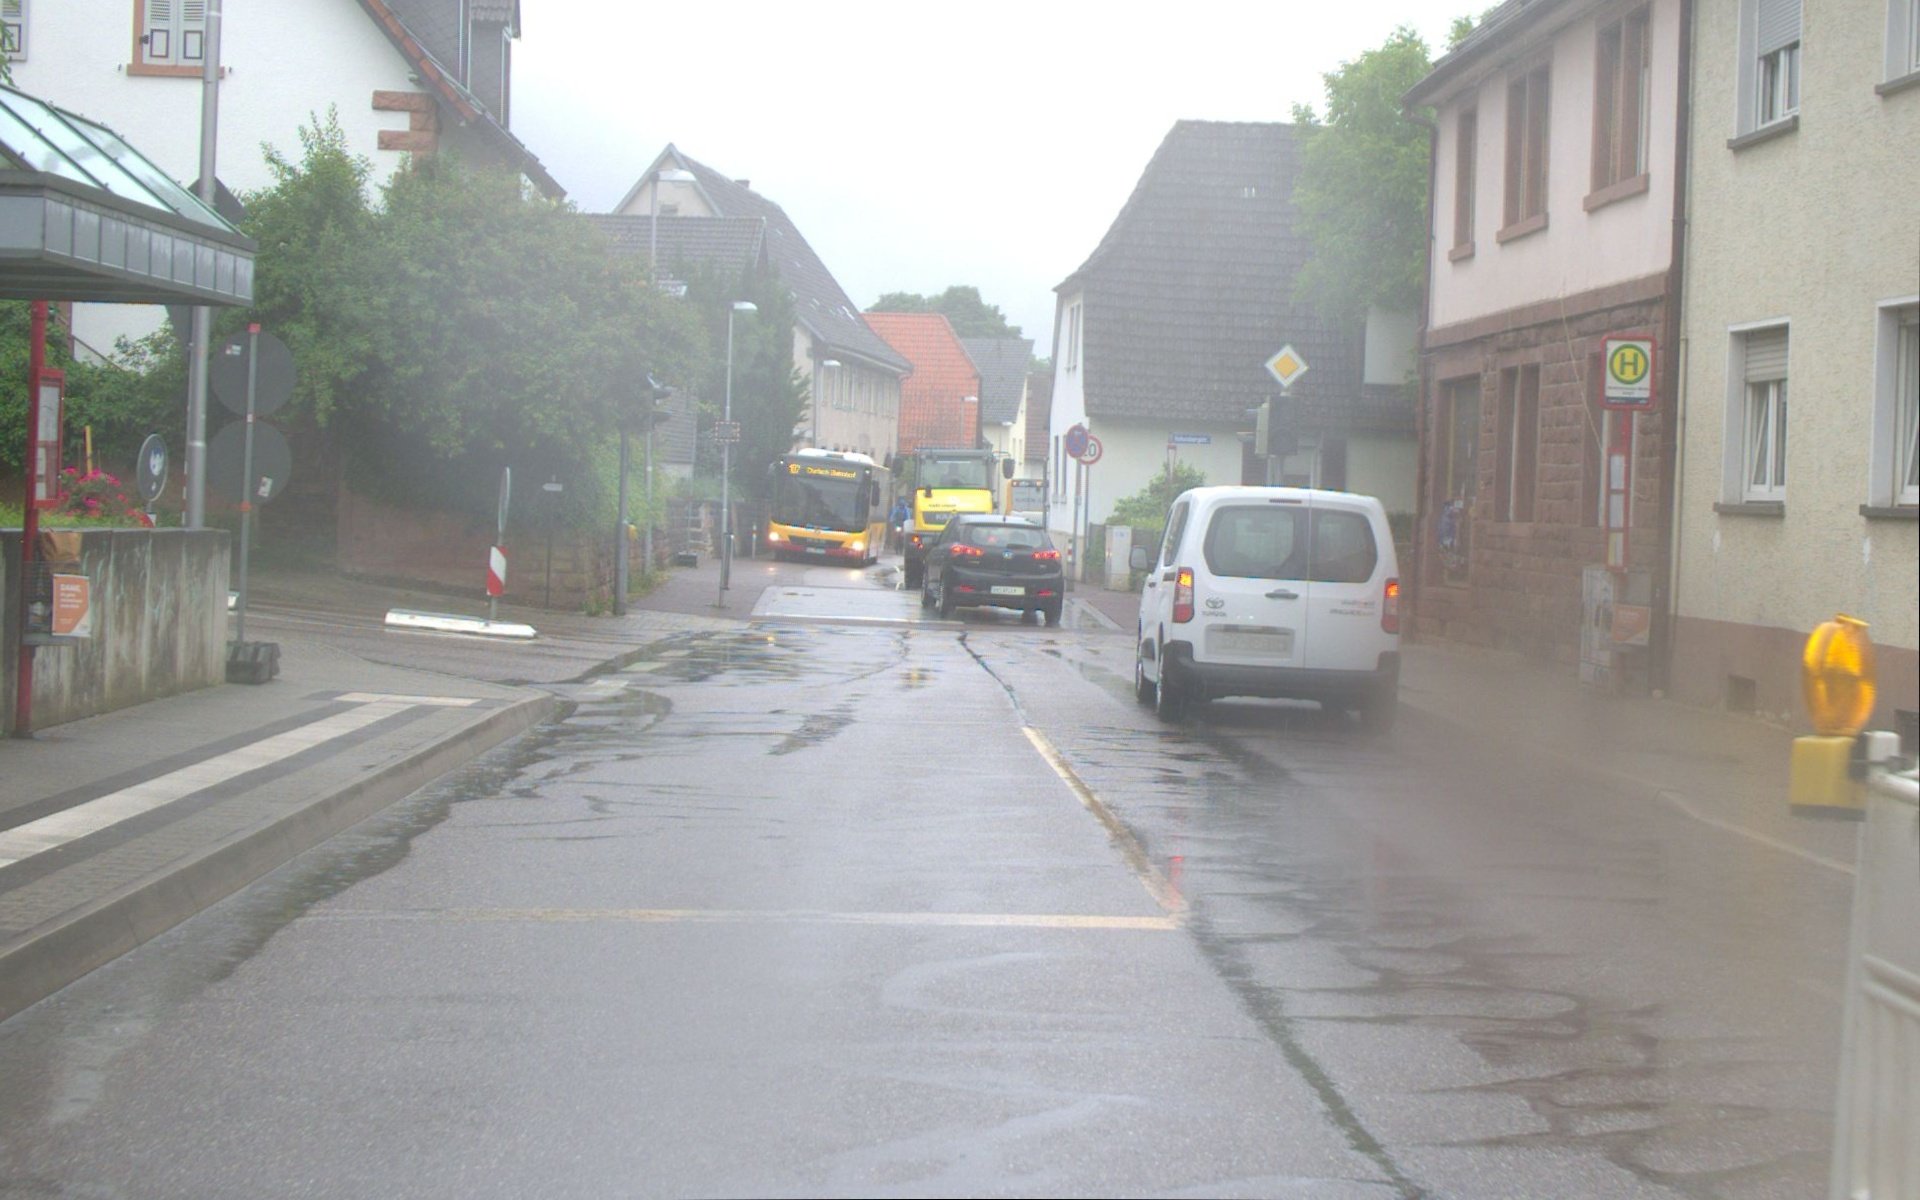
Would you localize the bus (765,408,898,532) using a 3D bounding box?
[{"bbox_3d":[-3.371,-3.595,93.236,2.650,2.989,12.193,3,3,1],"label":"bus"}]

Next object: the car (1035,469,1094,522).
[{"bbox_3d":[3.700,-3.657,121.202,1.851,1.787,3.999,1,1,5],"label":"car"}]

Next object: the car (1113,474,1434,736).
[{"bbox_3d":[2.366,-0.017,26.924,1.894,1.787,3.814,4,2,-2],"label":"car"}]

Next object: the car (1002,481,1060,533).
[{"bbox_3d":[2.880,-3.723,138.131,1.994,2.007,3.999,1,1,6],"label":"car"}]

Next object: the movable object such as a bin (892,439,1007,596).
[{"bbox_3d":[-0.226,-1.504,62.254,1.727,2.644,3.975,4,2,-3],"label":"movable object such as a bin"}]

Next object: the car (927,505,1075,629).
[{"bbox_3d":[0.546,-0.514,49.478,1.809,1.591,3.756,4,2,-3],"label":"car"}]
